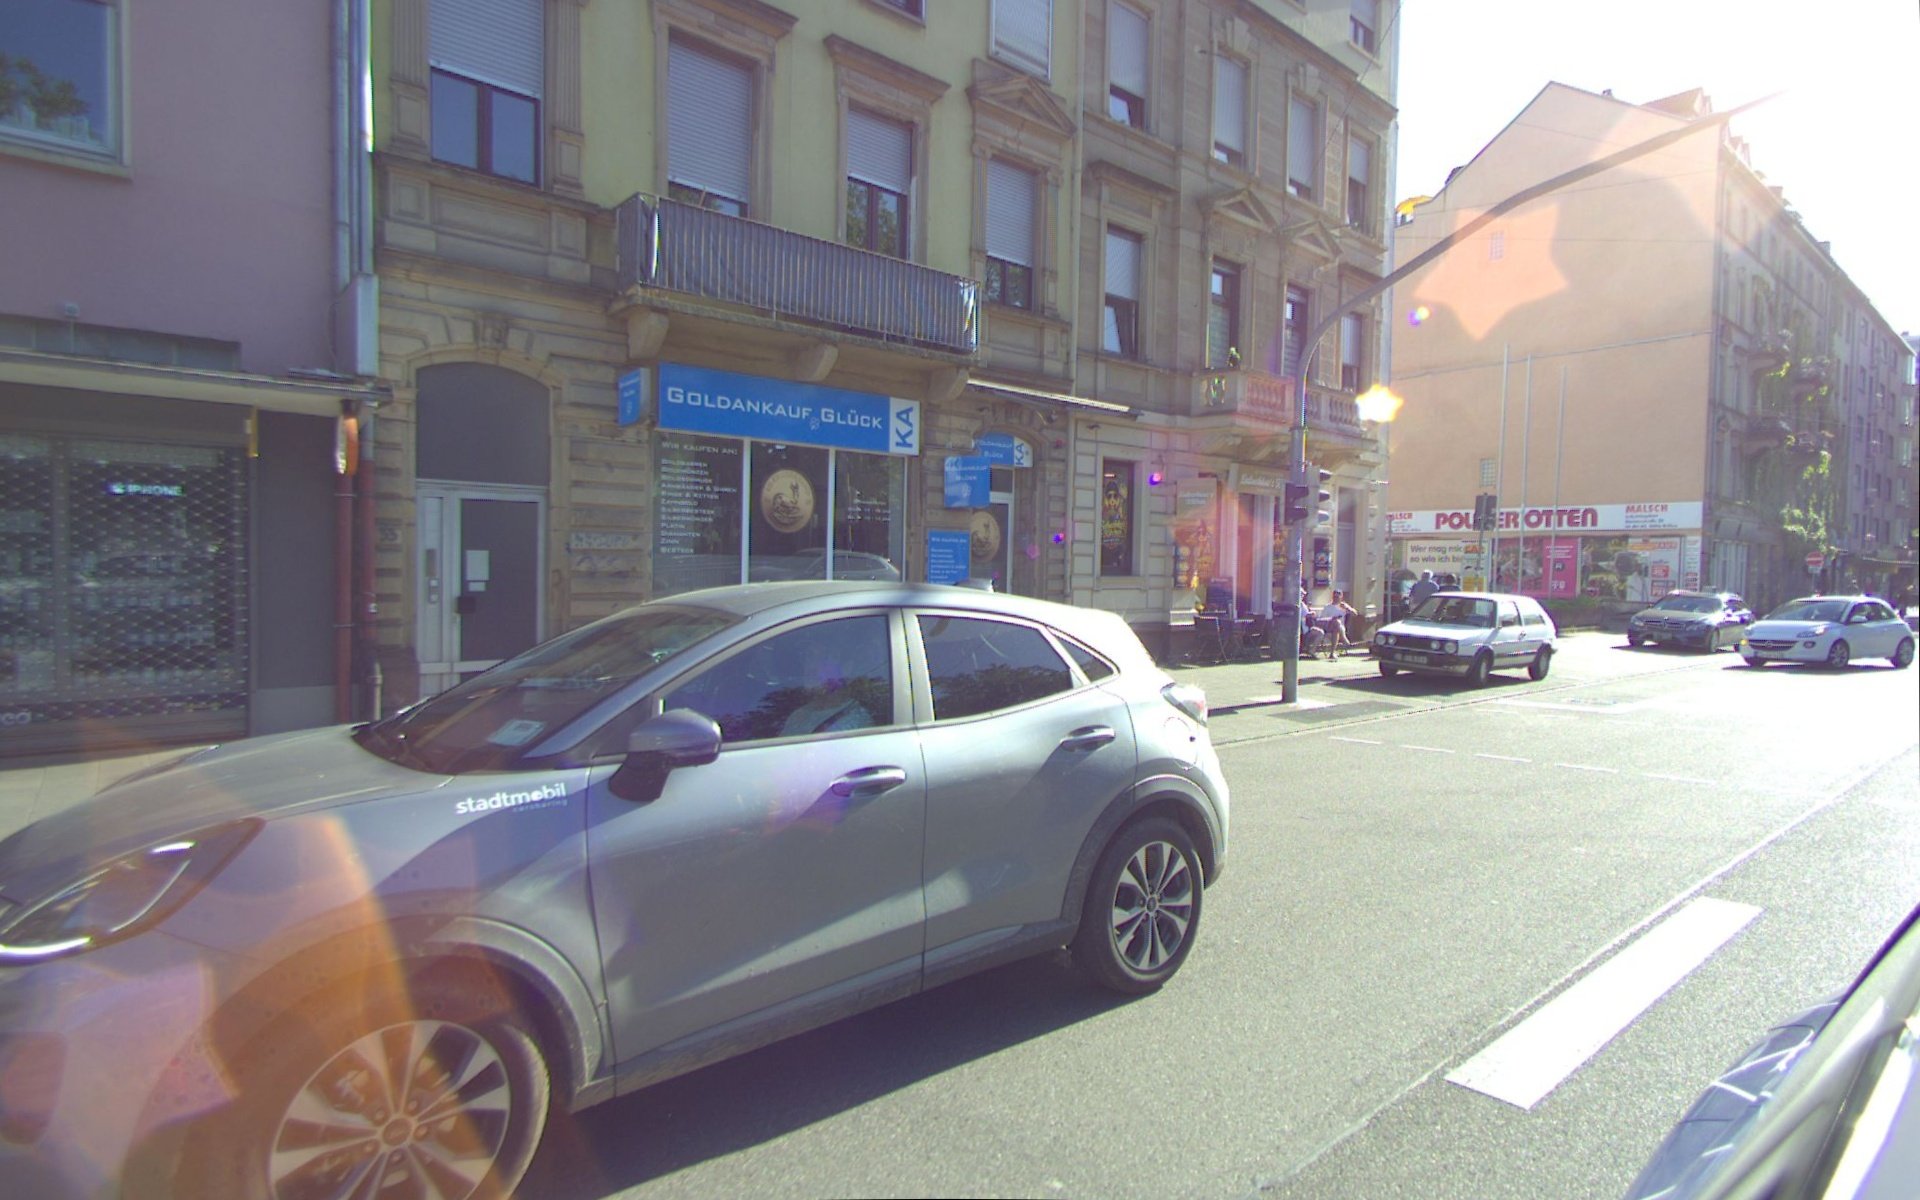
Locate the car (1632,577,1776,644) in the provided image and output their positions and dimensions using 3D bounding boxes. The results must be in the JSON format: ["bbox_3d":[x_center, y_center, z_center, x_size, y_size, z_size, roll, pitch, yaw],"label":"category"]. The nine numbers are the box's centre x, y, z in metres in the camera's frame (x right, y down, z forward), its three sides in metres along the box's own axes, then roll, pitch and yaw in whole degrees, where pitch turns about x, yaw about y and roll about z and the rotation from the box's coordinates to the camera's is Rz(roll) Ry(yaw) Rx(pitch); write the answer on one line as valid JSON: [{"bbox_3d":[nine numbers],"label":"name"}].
[{"bbox_3d":[19.575,0.222,26.556,4.648,1.504,1.838,-1,5,-39],"label":"car"}]

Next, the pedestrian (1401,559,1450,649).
[{"bbox_3d":[9.839,0.071,21.388,0.521,1.828,0.675,0,4,-39],"label":"pedestrian"}]

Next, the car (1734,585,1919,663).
[{"bbox_3d":[18.405,0.458,21.293,3.702,1.472,1.612,-1,1,-20],"label":"car"}]

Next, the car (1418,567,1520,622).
[{"bbox_3d":[16.661,-0.219,33.063,3.933,1.665,1.747,-1,3,-43],"label":"car"}]

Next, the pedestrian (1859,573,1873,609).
[{"bbox_3d":[48.037,-0.488,53.657,0.507,1.856,0.470,0,2,-39],"label":"pedestrian"}]

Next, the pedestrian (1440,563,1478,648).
[{"bbox_3d":[10.300,0.107,20.906,0.381,1.729,0.551,0,2,-36],"label":"pedestrian"}]

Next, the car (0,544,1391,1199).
[{"bbox_3d":[-0.436,0.648,3.493,4.301,1.547,1.702,-1,1,-38],"label":"car"}]

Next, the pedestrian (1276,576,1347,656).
[{"bbox_3d":[6.439,0.270,18.566,0.645,1.389,1.015,-1,3,-44],"label":"pedestrian"}]

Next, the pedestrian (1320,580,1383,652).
[{"bbox_3d":[7.519,0.290,19.446,0.645,1.297,0.902,-1,4,-44],"label":"pedestrian"}]

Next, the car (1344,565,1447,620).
[{"bbox_3d":[12.746,-0.240,29.540,3.338,1.504,1.560,-1,2,-43],"label":"car"}]

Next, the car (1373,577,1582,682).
[{"bbox_3d":[8.612,0.401,16.723,3.932,1.432,1.567,-1,6,-40],"label":"car"}]
